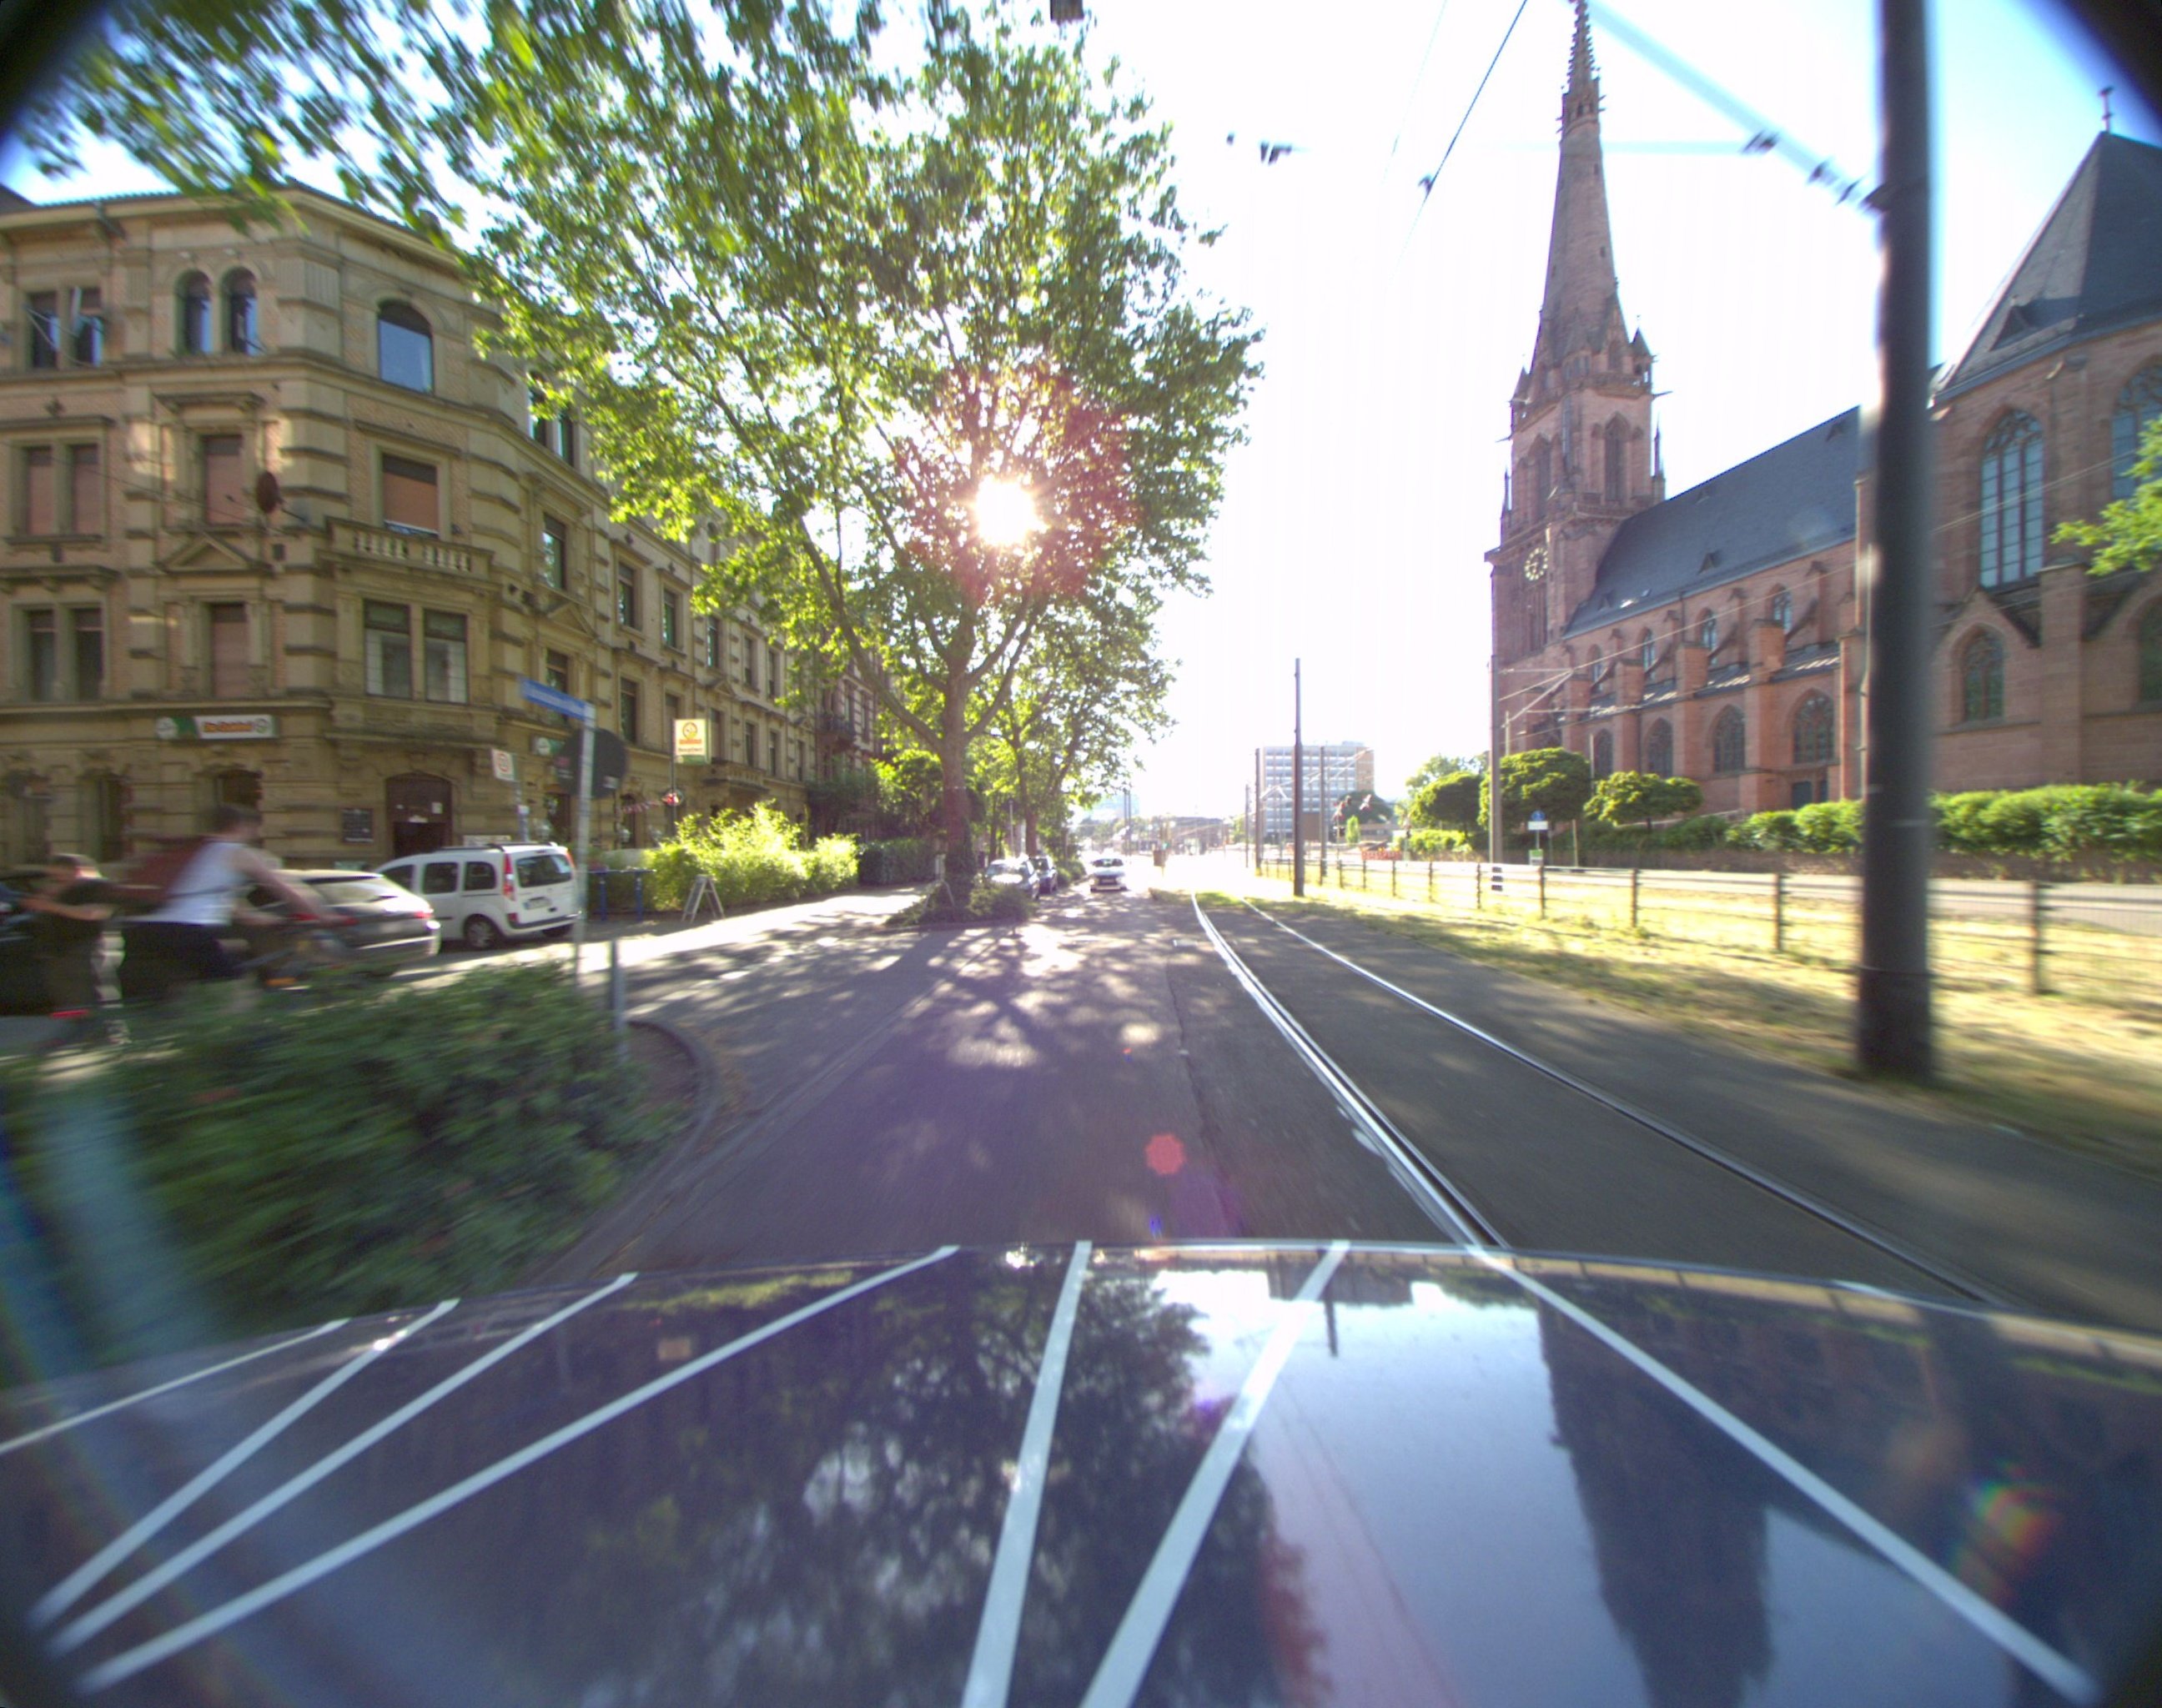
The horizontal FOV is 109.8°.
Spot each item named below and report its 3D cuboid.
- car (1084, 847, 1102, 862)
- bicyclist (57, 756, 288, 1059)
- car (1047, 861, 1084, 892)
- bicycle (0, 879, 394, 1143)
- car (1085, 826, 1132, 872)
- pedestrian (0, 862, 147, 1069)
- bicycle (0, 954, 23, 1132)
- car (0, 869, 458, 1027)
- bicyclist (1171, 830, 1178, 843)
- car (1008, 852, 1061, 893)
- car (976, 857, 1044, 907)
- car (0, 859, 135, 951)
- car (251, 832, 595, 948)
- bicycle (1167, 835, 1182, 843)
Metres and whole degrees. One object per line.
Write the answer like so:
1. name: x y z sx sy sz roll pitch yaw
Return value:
1. car: 1.440 0.026 90.974 1.823 1.605 4.000 -4 1 3
2. bicyclist: -5.210 0.292 4.398 0.544 1.616 0.644 -1 0 0
3. car: -0.867 1.290 45.303 1.823 1.605 4.001 -4 0 3
4. bicycle: -5.200 0.750 4.306 0.562 1.171 2.226 -1 -1 1
5. car: 1.236 -0.196 33.027 1.823 1.728 4.001 -4 0 3
6. pedestrian: -8.003 0.843 5.982 0.540 1.540 0.607 -1 -1 1
7. bicycle: -6.520 1.111 3.548 0.562 1.031 1.932 0 0 -5
8. car: -10.183 0.980 8.668 4.559 1.530 1.907 -1 1 0
9. bicyclist: 14.206 -2.706 115.835 0.775 1.861 0.611 -3 2 20
10. car: -1.890 0.735 32.219 1.679 1.508 4.723 0 1 3
11. car: -2.284 0.873 25.587 1.680 1.386 4.570 0 1 3
12. car: -20.947 0.962 14.185 4.180 1.553 1.907 -2 2 1
13. car: -11.796 0.597 13.858 4.558 1.836 1.907 -2 2 1
14. bicycle: 14.238 -2.312 115.863 2.063 1.077 0.611 -3 2 20
